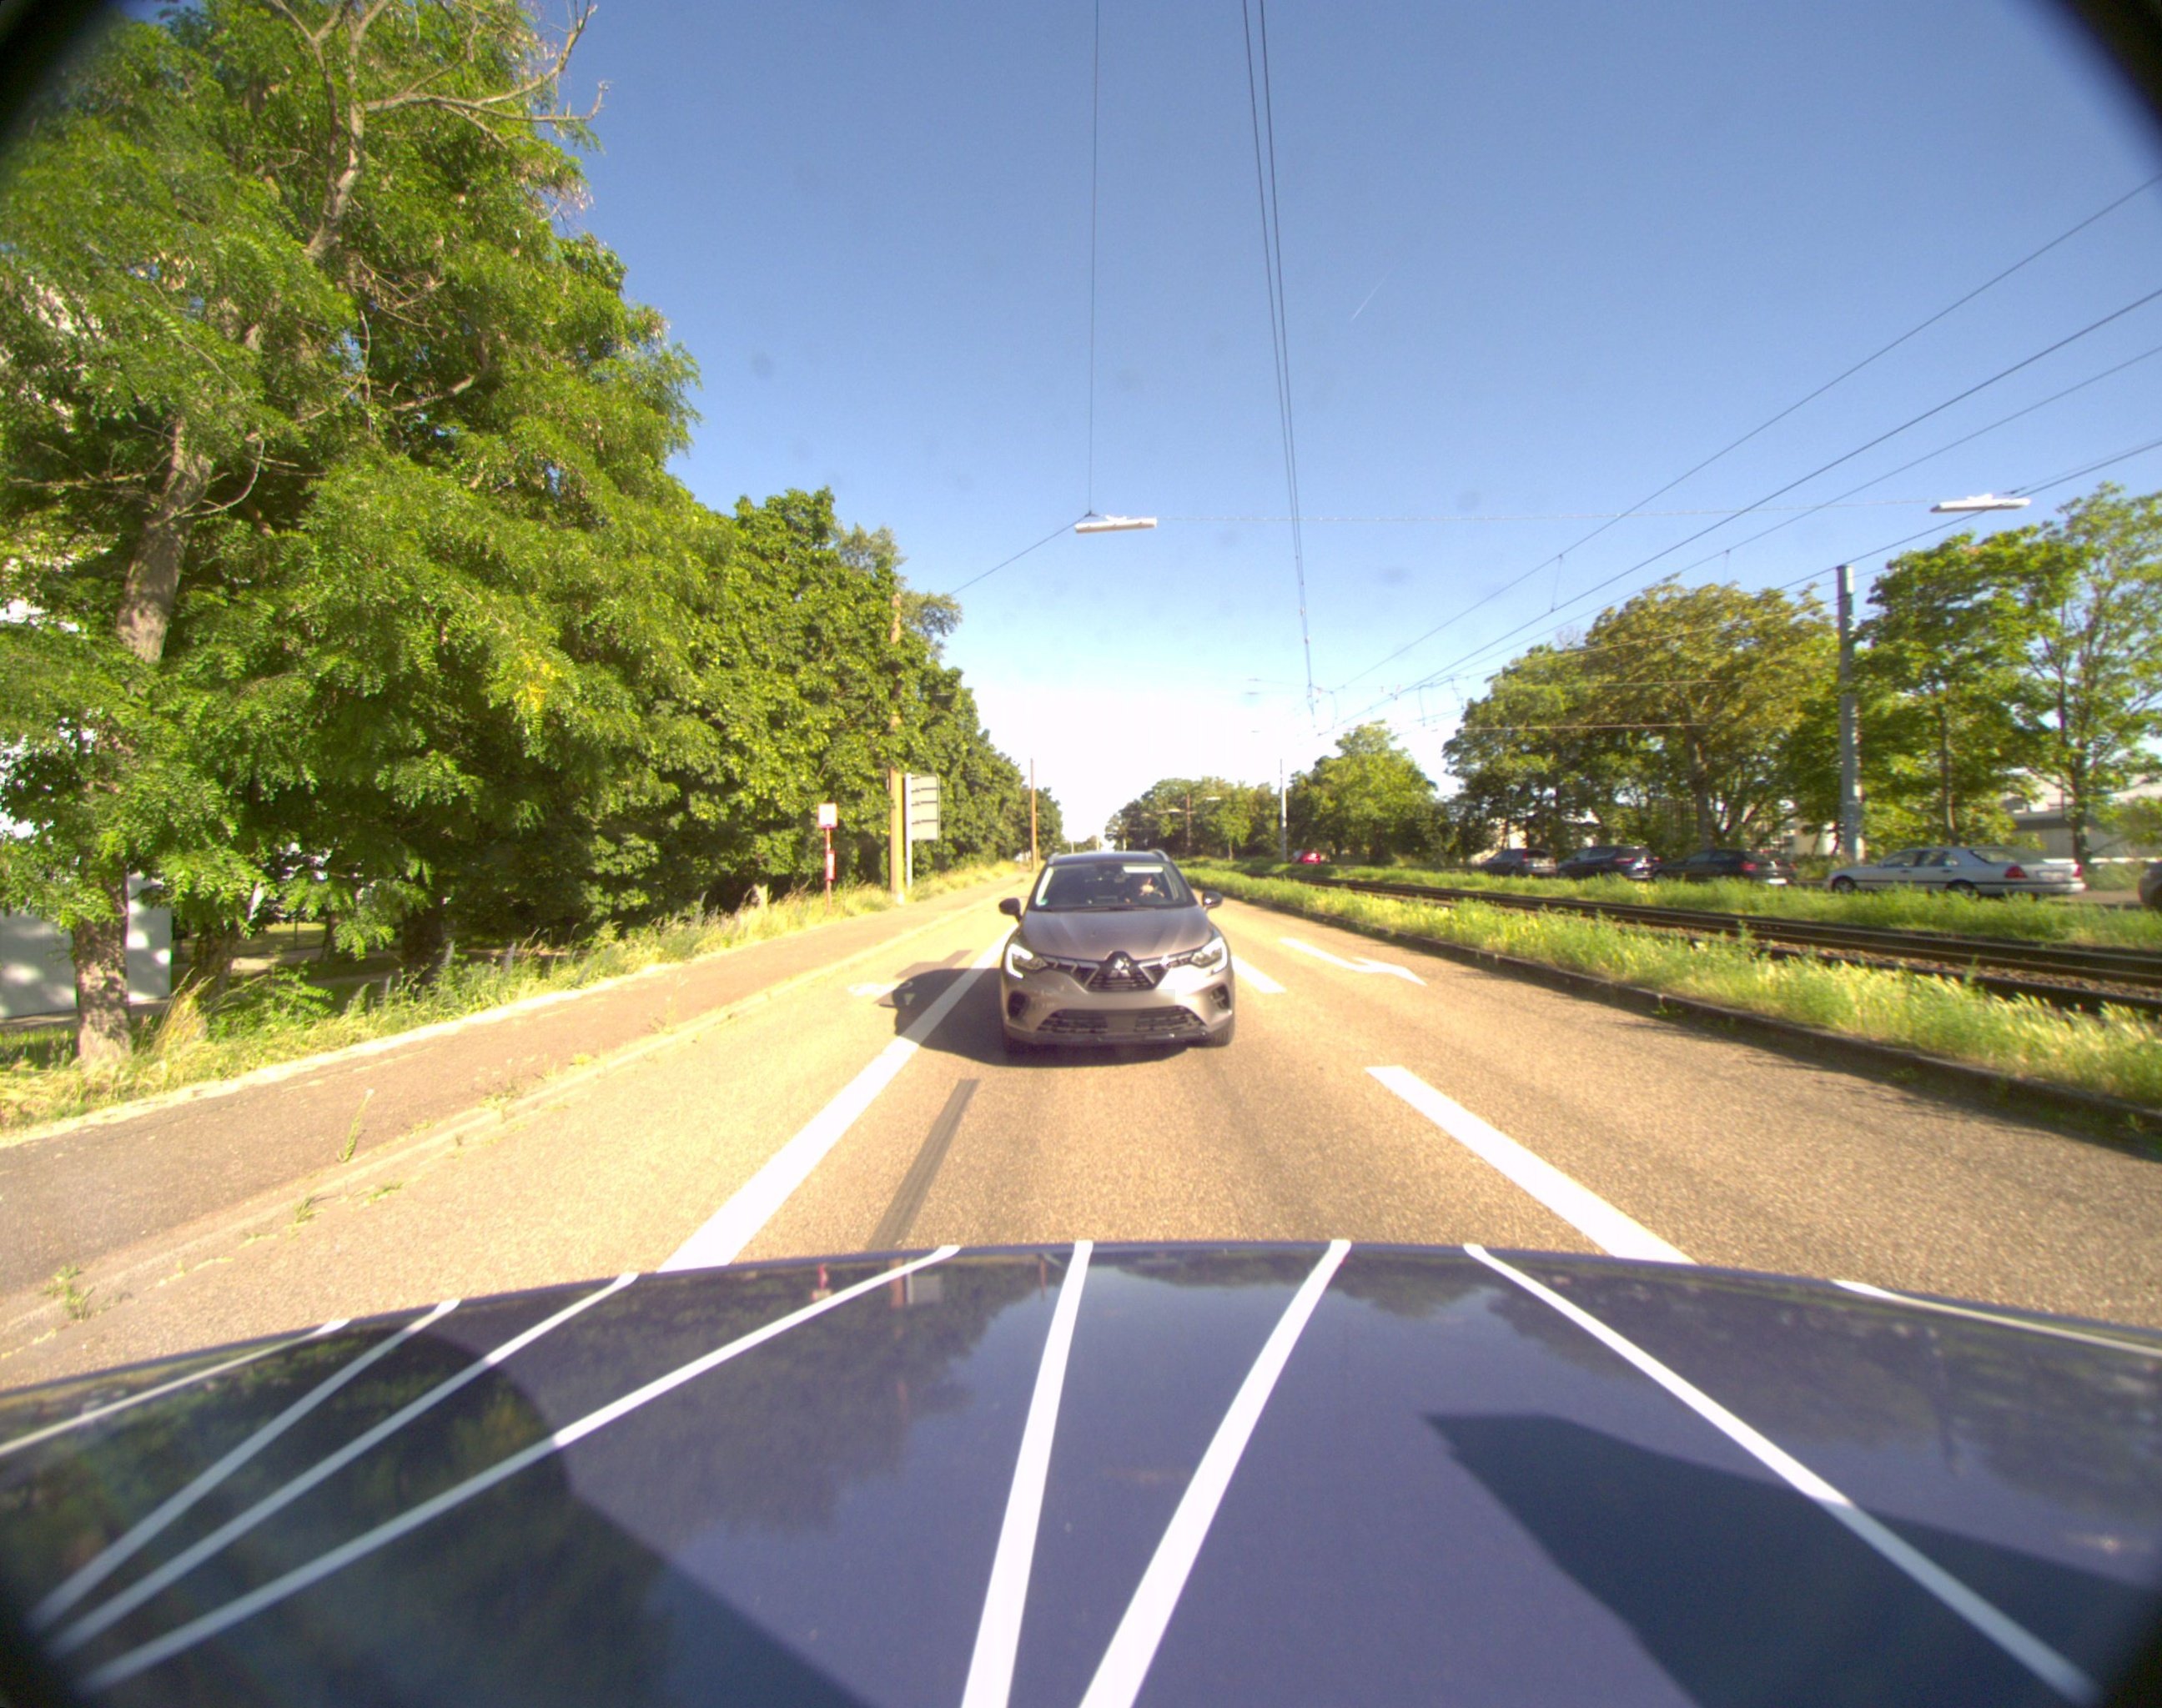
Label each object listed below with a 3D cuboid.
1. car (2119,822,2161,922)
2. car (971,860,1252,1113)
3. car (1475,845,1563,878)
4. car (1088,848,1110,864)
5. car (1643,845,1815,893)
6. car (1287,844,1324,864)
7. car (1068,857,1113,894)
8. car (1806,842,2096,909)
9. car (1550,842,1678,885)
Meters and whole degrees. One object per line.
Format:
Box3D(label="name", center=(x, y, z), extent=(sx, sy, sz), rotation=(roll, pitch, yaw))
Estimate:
Box3D(label="car", center=(21.270, 0.309, 12.399), extent=(2.202, 1.880, 4.792), rotation=(-2, 0, 3))
Box3D(label="car", center=(0.214, 0.905, 7.308), extent=(1.822, 1.589, 4.413), rotation=(-2, 0, 0))
Box3D(label="car", center=(21.462, 0.332, 37.434), extent=(1.740, 1.486, 4.327), rotation=(-3, 1, -1))
Box3D(label="car", center=(1.796, 0.178, 77.761), extent=(1.999, 1.577, 3.999), rotation=(-2, 0, -1))
Box3D(label="car", center=(21.389, 0.466, 25.366), extent=(1.998, 1.429, 4.415), rotation=(-2, 0, 1))
Box3D(label="car", center=(20.975, -0.006, 71.111), extent=(2.009, 1.692, 4.466), rotation=(-1, 0, -1))
Box3D(label="car", center=(0.413, 0.887, 33.378), extent=(1.832, 1.477, 4.000), rotation=(-2, 0, 1))
Box3D(label="car", center=(21.382, 0.485, 19.064), extent=(1.933, 1.429, 4.695), rotation=(-2, 0, 1))
Box3D(label="car", center=(21.355, 0.358, 30.726), extent=(1.999, 1.565, 4.434), rotation=(-2, 0, -1))
